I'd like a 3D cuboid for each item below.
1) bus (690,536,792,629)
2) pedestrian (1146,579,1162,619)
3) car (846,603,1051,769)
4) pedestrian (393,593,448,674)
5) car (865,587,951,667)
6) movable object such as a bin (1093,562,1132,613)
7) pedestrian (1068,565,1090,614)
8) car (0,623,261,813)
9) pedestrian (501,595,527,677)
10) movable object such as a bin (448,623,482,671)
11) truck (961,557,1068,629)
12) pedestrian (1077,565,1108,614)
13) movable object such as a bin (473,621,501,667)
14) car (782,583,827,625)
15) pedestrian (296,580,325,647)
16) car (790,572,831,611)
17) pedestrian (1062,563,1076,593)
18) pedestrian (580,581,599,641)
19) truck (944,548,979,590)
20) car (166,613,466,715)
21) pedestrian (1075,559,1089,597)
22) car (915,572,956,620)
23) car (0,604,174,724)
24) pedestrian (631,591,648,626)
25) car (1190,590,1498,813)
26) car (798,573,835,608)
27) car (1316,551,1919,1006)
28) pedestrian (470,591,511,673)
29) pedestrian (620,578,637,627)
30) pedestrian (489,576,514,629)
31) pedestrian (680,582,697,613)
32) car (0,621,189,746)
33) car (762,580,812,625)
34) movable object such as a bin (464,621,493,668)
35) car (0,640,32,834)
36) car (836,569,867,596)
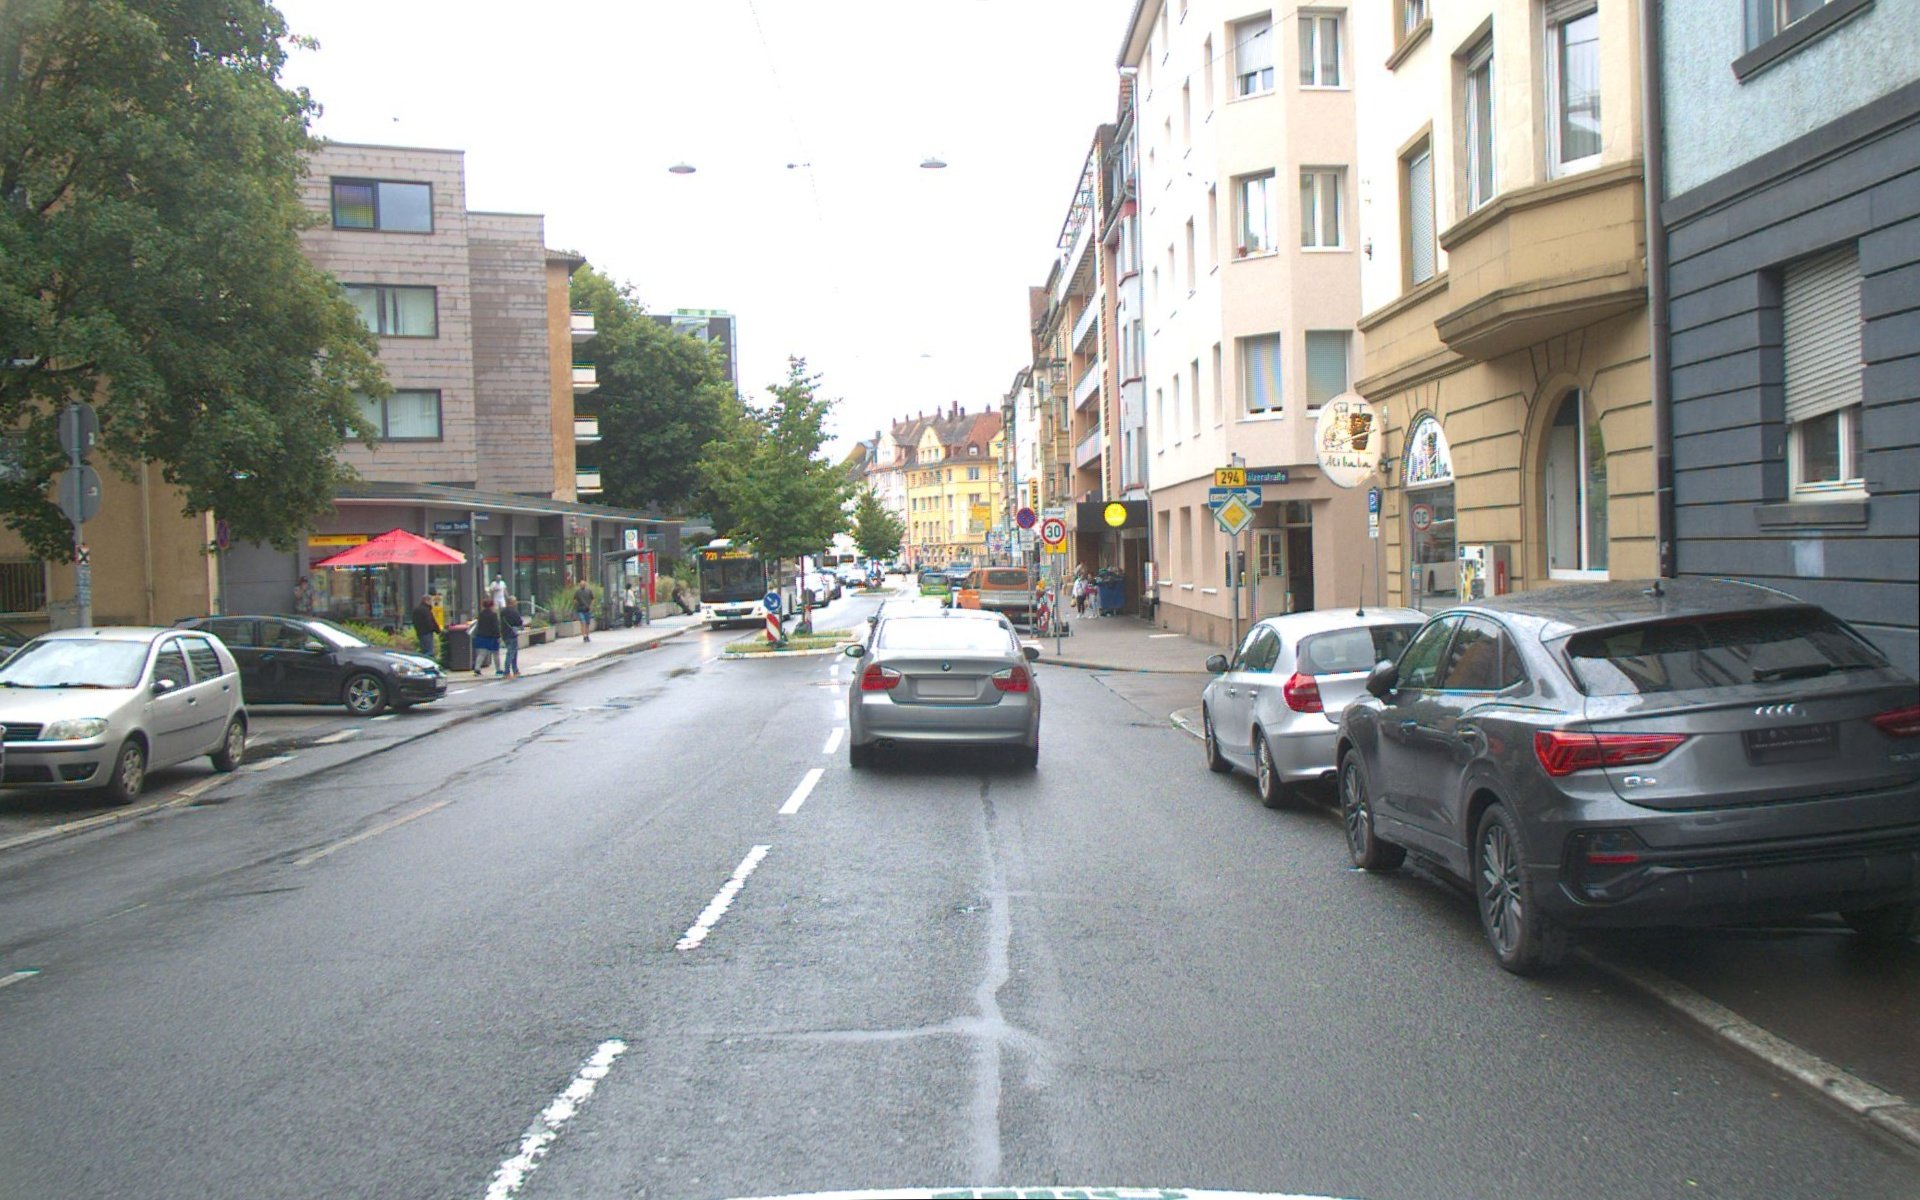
[{"bbox_3d":[-8.375,-0.549,64.751,2.627,3.257,11.951,1,-1,-1],"label":"bus"},{"bbox_3d":[6.092,-0.046,51.977,0.404,1.223,0.357,-4,1,2],"label":"pedestrian"},{"bbox_3d":[-0.114,0.744,15.523,1.720,1.386,3.164,0,-1,-1],"label":"car"},{"bbox_3d":[-12.106,0.739,37.126,1.043,1.761,0.712,-1,1,-11],"label":"pedestrian"},{"bbox_3d":[-1.033,0.520,32.256,1.570,1.445,3.286,1,-1,-3],"label":"car"},{"bbox_3d":[5.406,-0.422,58.710,1.100,1.732,1.433,-3,-1,-3],"label":"movable object such as a bin"},{"bbox_3d":[4.187,-0.359,58.330,0.733,1.690,0.837,1,-1,6],"label":"pedestrian"},{"bbox_3d":[-8.071,1.011,15.518,1.600,1.479,3.836,-1,0,-4],"label":"car"},{"bbox_3d":[-9.573,0.772,35.501,0.458,1.739,0.541,1,-1,-21],"label":"pedestrian"},{"bbox_3d":[-11.663,1.112,38.985,0.542,1.100,0.731,-2,-1,0],"label":"movable object such as a bin"},{"bbox_3d":[1.688,-0.220,53.159,2.178,2.153,4.634,2,0,-14],"label":"truck"},{"bbox_3d":[4.583,-0.357,57.045,0.748,1.690,0.741,2,-1,-41],"label":"pedestrian"},{"bbox_3d":[-11.614,1.073,40.642,0.480,1.100,0.606,-2,-1,0],"label":"movable object such as a bin"},{"bbox_3d":[-7.877,0.236,84.071,1.953,2.049,3.998,1,-1,-2],"label":"car"},{"bbox_3d":[-18.359,0.382,46.747,0.627,1.847,0.631,-2,1,-30],"label":"pedestrian"},{"bbox_3d":[-8.168,-0.428,90.630,1.953,2.049,3.998,1,-1,-2],"label":"car"},{"bbox_3d":[5.252,-1.061,79.624,0.552,1.446,0.797,1,-1,12],"label":"pedestrian"},{"bbox_3d":[-11.449,0.349,51.083,0.533,1.821,0.464,1,-1,-13],"label":"pedestrian"},{"bbox_3d":[0.050,-2.019,110.354,2.172,2.589,4.778,1,-1,-1],"label":"truck"},{"bbox_3d":[-9.433,0.921,24.448,3.738,1.414,1.742,0,-1,-2],"label":"car"},{"bbox_3d":[5.643,-1.015,76.213,0.602,1.690,0.755,1,-1,6],"label":"pedestrian"},{"bbox_3d":[-1.120,-0.157,73.959,1.671,2.049,3.997,1,-1,-3],"label":"car"},{"bbox_3d":[-13.937,0.950,24.463,3.732,1.609,1.693,-2,2,-1],"label":"car"},{"bbox_3d":[-11.747,0.317,60.636,0.455,1.252,0.544,1,-1,0],"label":"pedestrian"},{"bbox_3d":[3.013,0.719,13.794,1.537,1.489,4.089,-3,0,0],"label":"car"},{"bbox_3d":[-8.752,-0.571,101.028,1.953,2.049,3.998,0,-1,-2],"label":"car"},{"bbox_3d":[3.165,0.638,8.221,1.781,1.585,4.293,-3,0,0],"label":"car"},{"bbox_3d":[-10.308,0.691,36.310,0.729,1.738,0.676,-4,1,-21],"label":"pedestrian"},{"bbox_3d":[-11.773,0.083,58.755,0.532,1.739,0.465,1,-1,-7],"label":"pedestrian"},{"bbox_3d":[-15.104,0.085,54.507,0.651,1.735,0.655,2,-1,-25],"label":"pedestrian"},{"bbox_3d":[-12.282,-0.114,74.811,0.607,1.402,0.544,1,-1,0],"label":"pedestrian"},{"bbox_3d":[-12.189,1.079,21.191,3.737,1.414,1.743,-2,1,2],"label":"car"},{"bbox_3d":[-8.047,0.143,77.217,1.953,2.049,3.998,0,-1,-2],"label":"car"},{"bbox_3d":[-11.625,1.068,39.959,0.480,1.100,0.606,-2,-1,0],"label":"movable object such as a bin"},{"bbox_3d":[-8.157,1.092,11.185,1.620,1.479,3.941,-2,0,-2],"label":"car"},{"bbox_3d":[-8.832,-1.406,134.675,1.951,2.049,4.002,1,-1,5],"label":"car"}]
